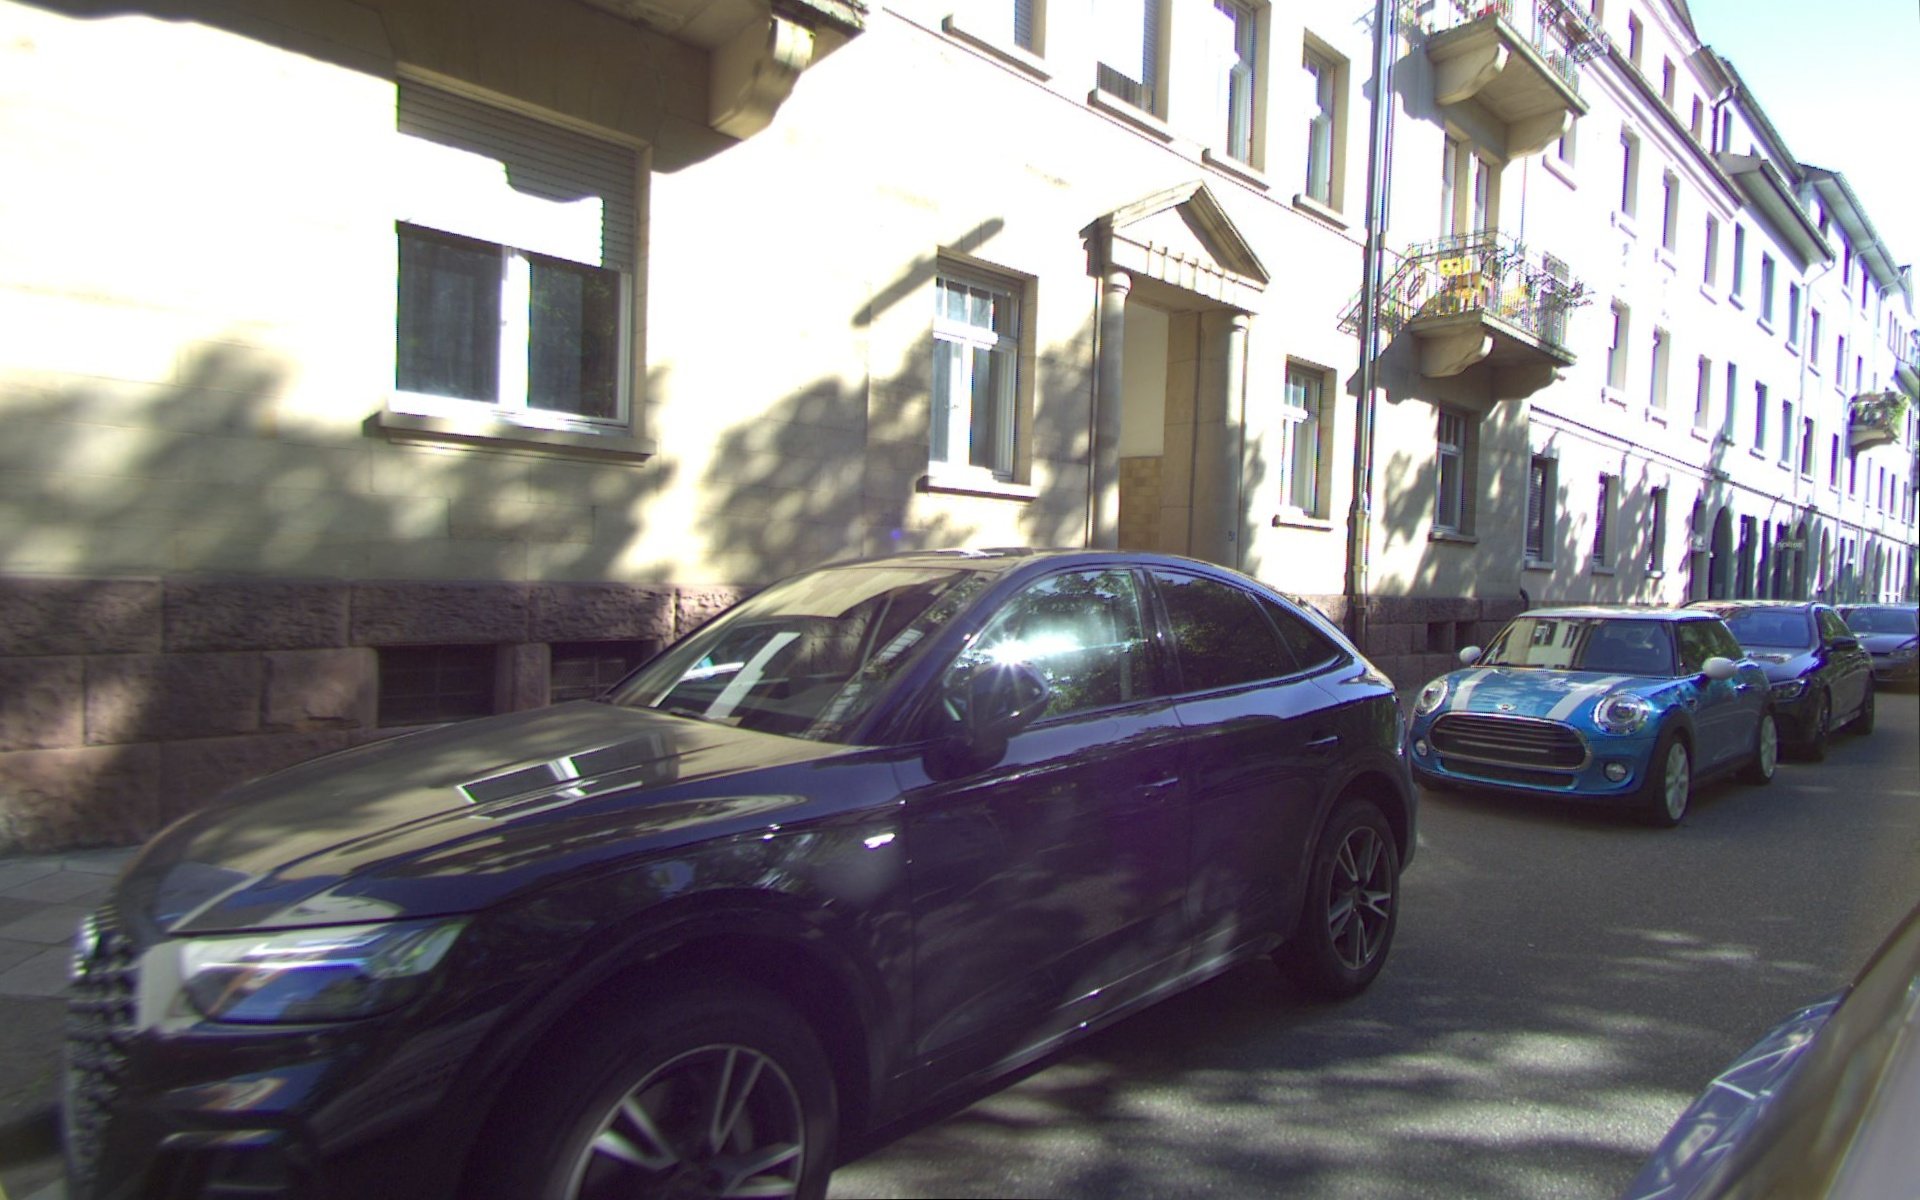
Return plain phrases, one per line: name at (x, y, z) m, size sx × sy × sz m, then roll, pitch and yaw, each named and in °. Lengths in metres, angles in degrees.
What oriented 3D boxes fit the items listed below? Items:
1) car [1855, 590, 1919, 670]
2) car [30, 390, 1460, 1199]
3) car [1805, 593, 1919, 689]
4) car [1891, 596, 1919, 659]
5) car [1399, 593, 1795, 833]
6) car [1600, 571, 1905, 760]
car at (20.263, 0.588, 21.217) m, size 4.111 × 1.571 × 1.770 m, roll 0°, pitch 1°, yaw -42°
car at (-0.132, 0.563, 3.418) m, size 4.416 × 1.664 × 1.866 m, roll 0°, pitch 1°, yaw -44°
car at (16.186, 0.642, 17.579) m, size 3.935 × 1.486 × 1.695 m, roll 0°, pitch 1°, yaw -41°
car at (24.340, 0.669, 24.781) m, size 4.215 × 1.449 × 1.773 m, roll 0°, pitch 2°, yaw -41°
car at (5.068, 0.678, 7.881) m, size 3.567 × 1.433 × 1.593 m, roll 0°, pitch 1°, yaw -40°
car at (8.686, 0.560, 10.956) m, size 4.245 × 1.582 × 1.809 m, roll 0°, pitch 3°, yaw -42°
